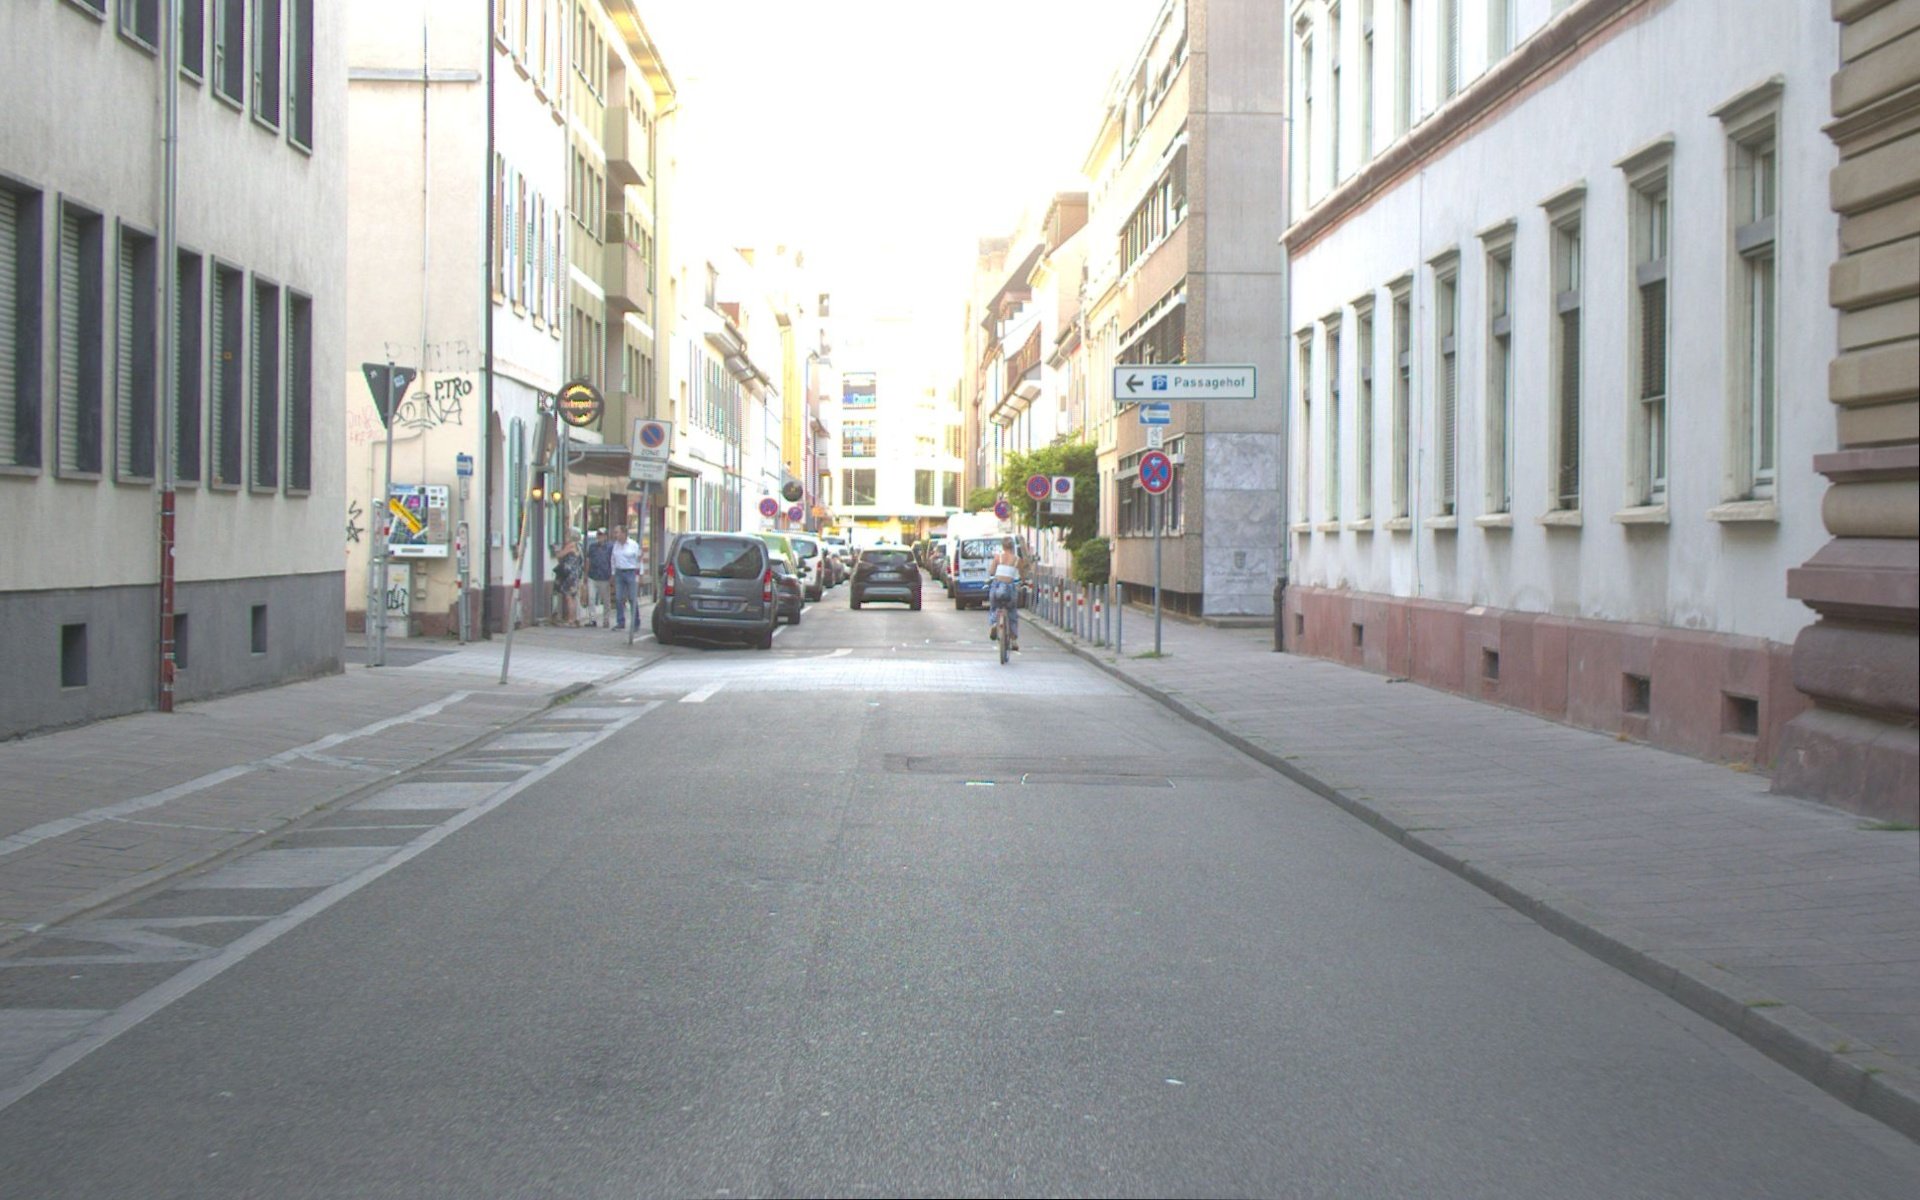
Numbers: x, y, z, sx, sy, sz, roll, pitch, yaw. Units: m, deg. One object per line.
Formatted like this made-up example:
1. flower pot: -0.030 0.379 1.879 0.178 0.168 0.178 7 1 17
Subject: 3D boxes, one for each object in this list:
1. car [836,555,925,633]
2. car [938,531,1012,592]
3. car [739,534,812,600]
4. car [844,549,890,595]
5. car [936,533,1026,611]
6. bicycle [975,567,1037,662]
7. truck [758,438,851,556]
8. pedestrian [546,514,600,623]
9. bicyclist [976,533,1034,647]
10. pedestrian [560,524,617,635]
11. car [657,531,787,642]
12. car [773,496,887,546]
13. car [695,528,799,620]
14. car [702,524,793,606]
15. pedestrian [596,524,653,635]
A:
1. car: -2.003 -0.170 85.349 1.993 1.897 4.001 0 1 -4
2. car: 0.453 -1.208 107.931 1.993 1.880 4.173 0 1 -4
3. car: -5.179 -0.933 96.536 1.993 1.809 4.001 0 1 -3
4. car: -4.282 -1.282 158.726 1.993 2.007 4.000 1 0 -1
5. car: 0.511 -0.735 88.575 1.993 1.985 4.001 0 1 -4
6. bicycle: 0.634 0.184 48.227 0.794 1.273 2.578 0 1 -1
7. truck: -4.890 -3.166 108.557 2.770 3.493 9.617 1 1 -2
8. pedestrian: -6.534 -0.541 58.025 0.755 1.823 0.735 0 1 -19
9. bicyclist: 0.627 -0.149 48.162 0.789 1.577 1.012 0 1 -1
10. pedestrian: -6.438 -0.365 59.556 0.733 1.905 0.757 0 1 18
11. car: -3.778 -0.239 55.128 1.993 1.722 4.001 0 1 -3
12. car: -4.815 -2.914 127.118 3.986 1.764 2.016 1 0 -9
13. car: -4.363 -0.548 70.039 1.993 1.809 4.001 0 1 -5
14. car: -4.852 -0.800 78.048 1.993 1.809 4.001 0 1 -4
15. pedestrian: -5.769 -0.355 59.136 0.733 1.905 0.757 0 1 18
